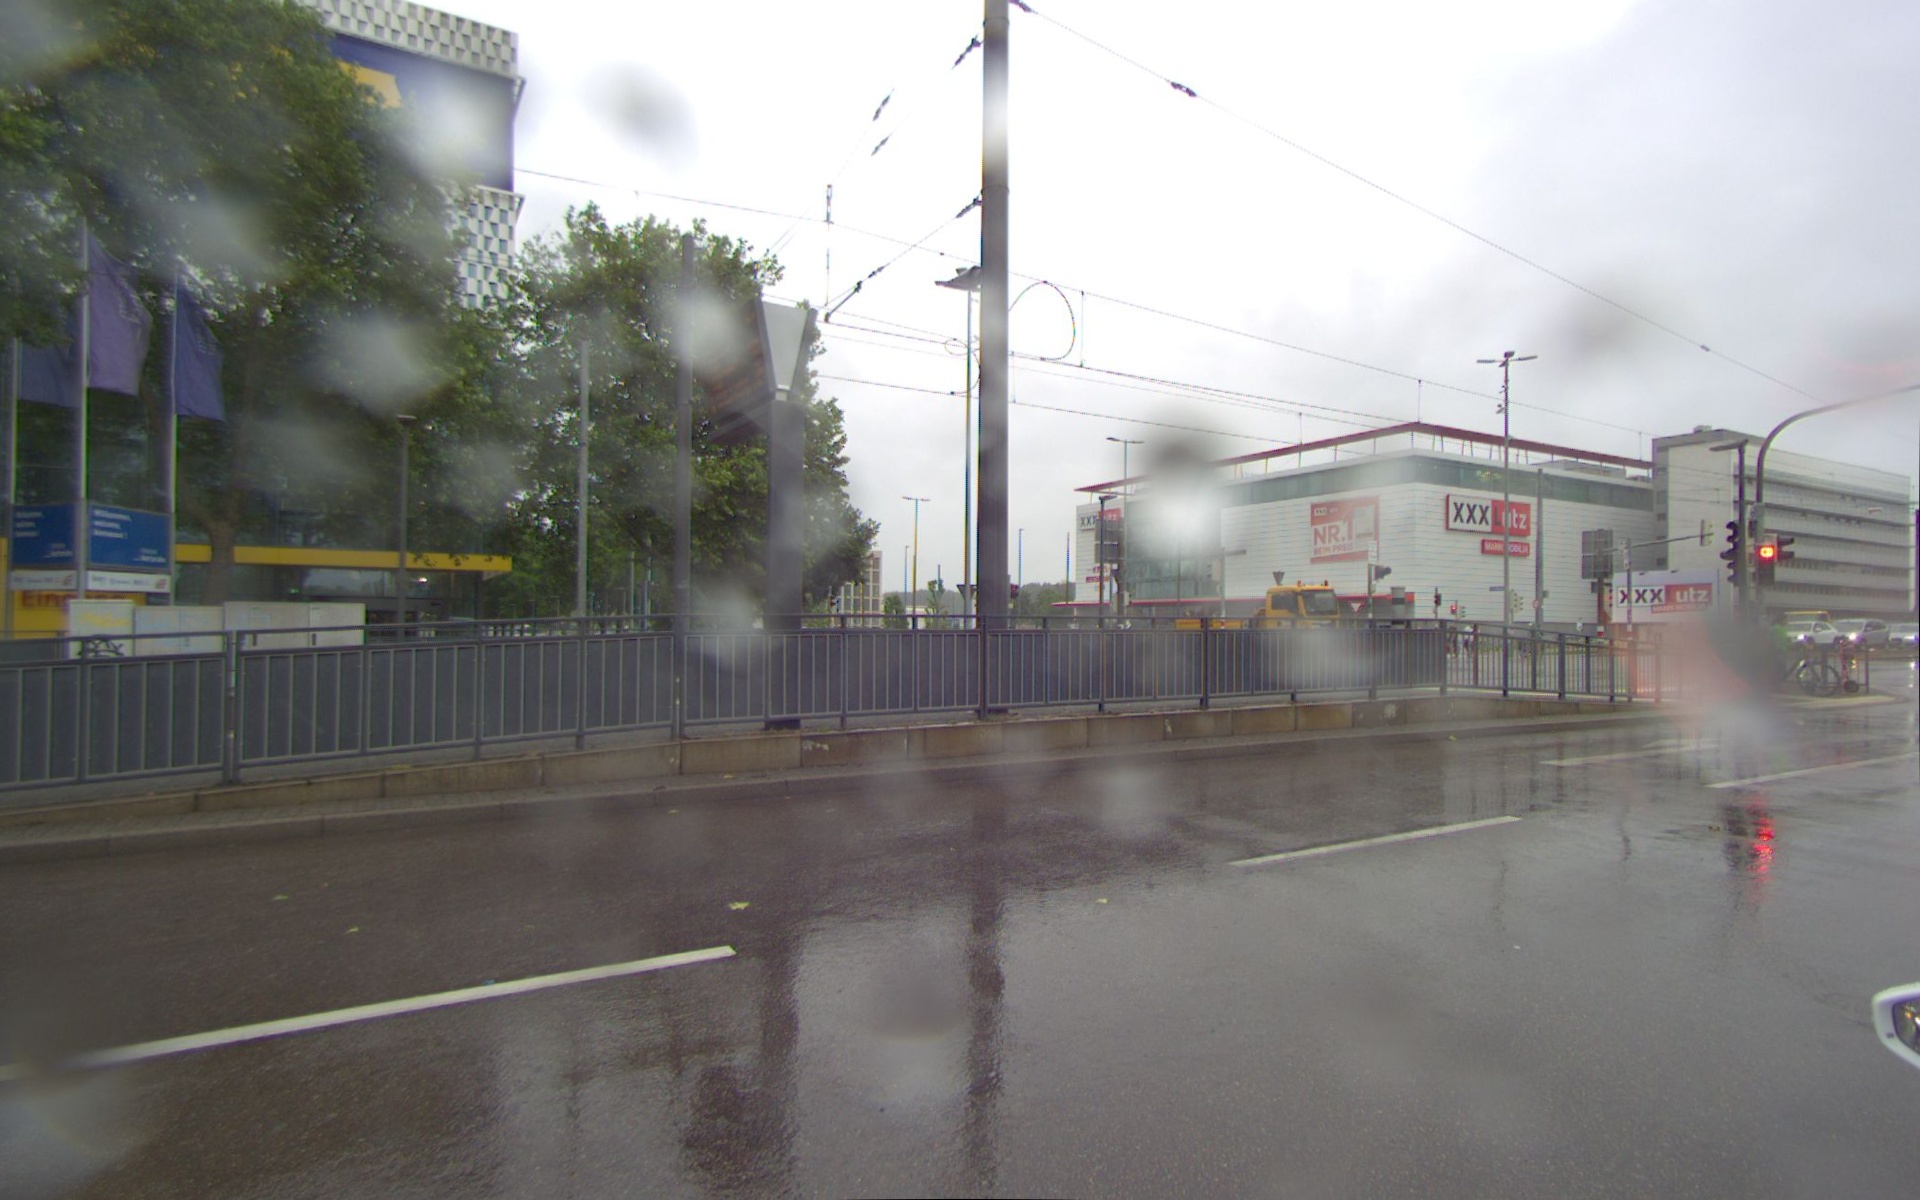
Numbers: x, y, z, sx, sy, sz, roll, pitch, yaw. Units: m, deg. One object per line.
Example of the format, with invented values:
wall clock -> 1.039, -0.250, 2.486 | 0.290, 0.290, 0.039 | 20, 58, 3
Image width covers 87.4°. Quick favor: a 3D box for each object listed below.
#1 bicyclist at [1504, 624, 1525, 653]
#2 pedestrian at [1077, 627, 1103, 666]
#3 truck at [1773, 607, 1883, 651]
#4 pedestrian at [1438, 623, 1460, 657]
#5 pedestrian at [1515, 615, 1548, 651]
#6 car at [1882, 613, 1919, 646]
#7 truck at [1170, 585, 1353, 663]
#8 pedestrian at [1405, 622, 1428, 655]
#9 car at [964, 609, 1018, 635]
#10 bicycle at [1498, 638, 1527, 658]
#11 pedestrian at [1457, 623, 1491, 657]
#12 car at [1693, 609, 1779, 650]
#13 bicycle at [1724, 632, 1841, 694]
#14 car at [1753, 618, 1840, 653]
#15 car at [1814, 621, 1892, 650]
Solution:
bicyclist -> 28.183, 1.953, 51.085 | 0.639, 1.483, 0.681 | 2, 0, -29
pedestrian -> 5.305, 1.880, 41.073 | 0.863, 1.557, 0.560 | 2, 0, -31
truck -> 49.362, 1.647, 57.091 | 7.542, 2.309, 2.341 | 2, 0, -30
pedestrian -> 24.343, 2.003, 49.999 | 0.914, 1.654, 0.694 | 2, 0, -42
pedestrian -> 27.472, 1.574, 48.298 | 0.996, 1.654, 0.917 | 2, 0, -19
car -> 51.375, 1.602, 53.616 | 3.947, 1.722, 1.886 | 2, 0, -26
truck -> 11.871, 0.879, 40.296 | 2.612, 2.853, 7.084 | 2, 0, -31
pedestrian -> 23.294, 1.951, 51.259 | 0.914, 1.654, 0.694 | 2, 0, -42
car -> 2.172, 1.526, 70.214 | 3.723, 1.645, 2.001 | 2, 0, 2
bicycle -> 28.104, 2.430, 51.074 | 1.688, 1.000, 0.448 | 2, 0, -30
pedestrian -> 25.432, 1.976, 49.741 | 1.064, 1.654, 1.025 | 2, 0, -6
car -> 40.396, 1.532, 52.303 | 3.947, 2.040, 1.987 | 2, 0, -26
bicycle -> 16.664, 1.260, 20.404 | 0.409, 1.048, 1.742 | 2, 3, -31
car -> 39.720, 1.694, 47.675 | 3.823, 1.512, 1.693 | 2, 0, -25
car -> 45.002, 1.800, 50.616 | 3.780, 1.354, 1.582 | 2, 0, -26
